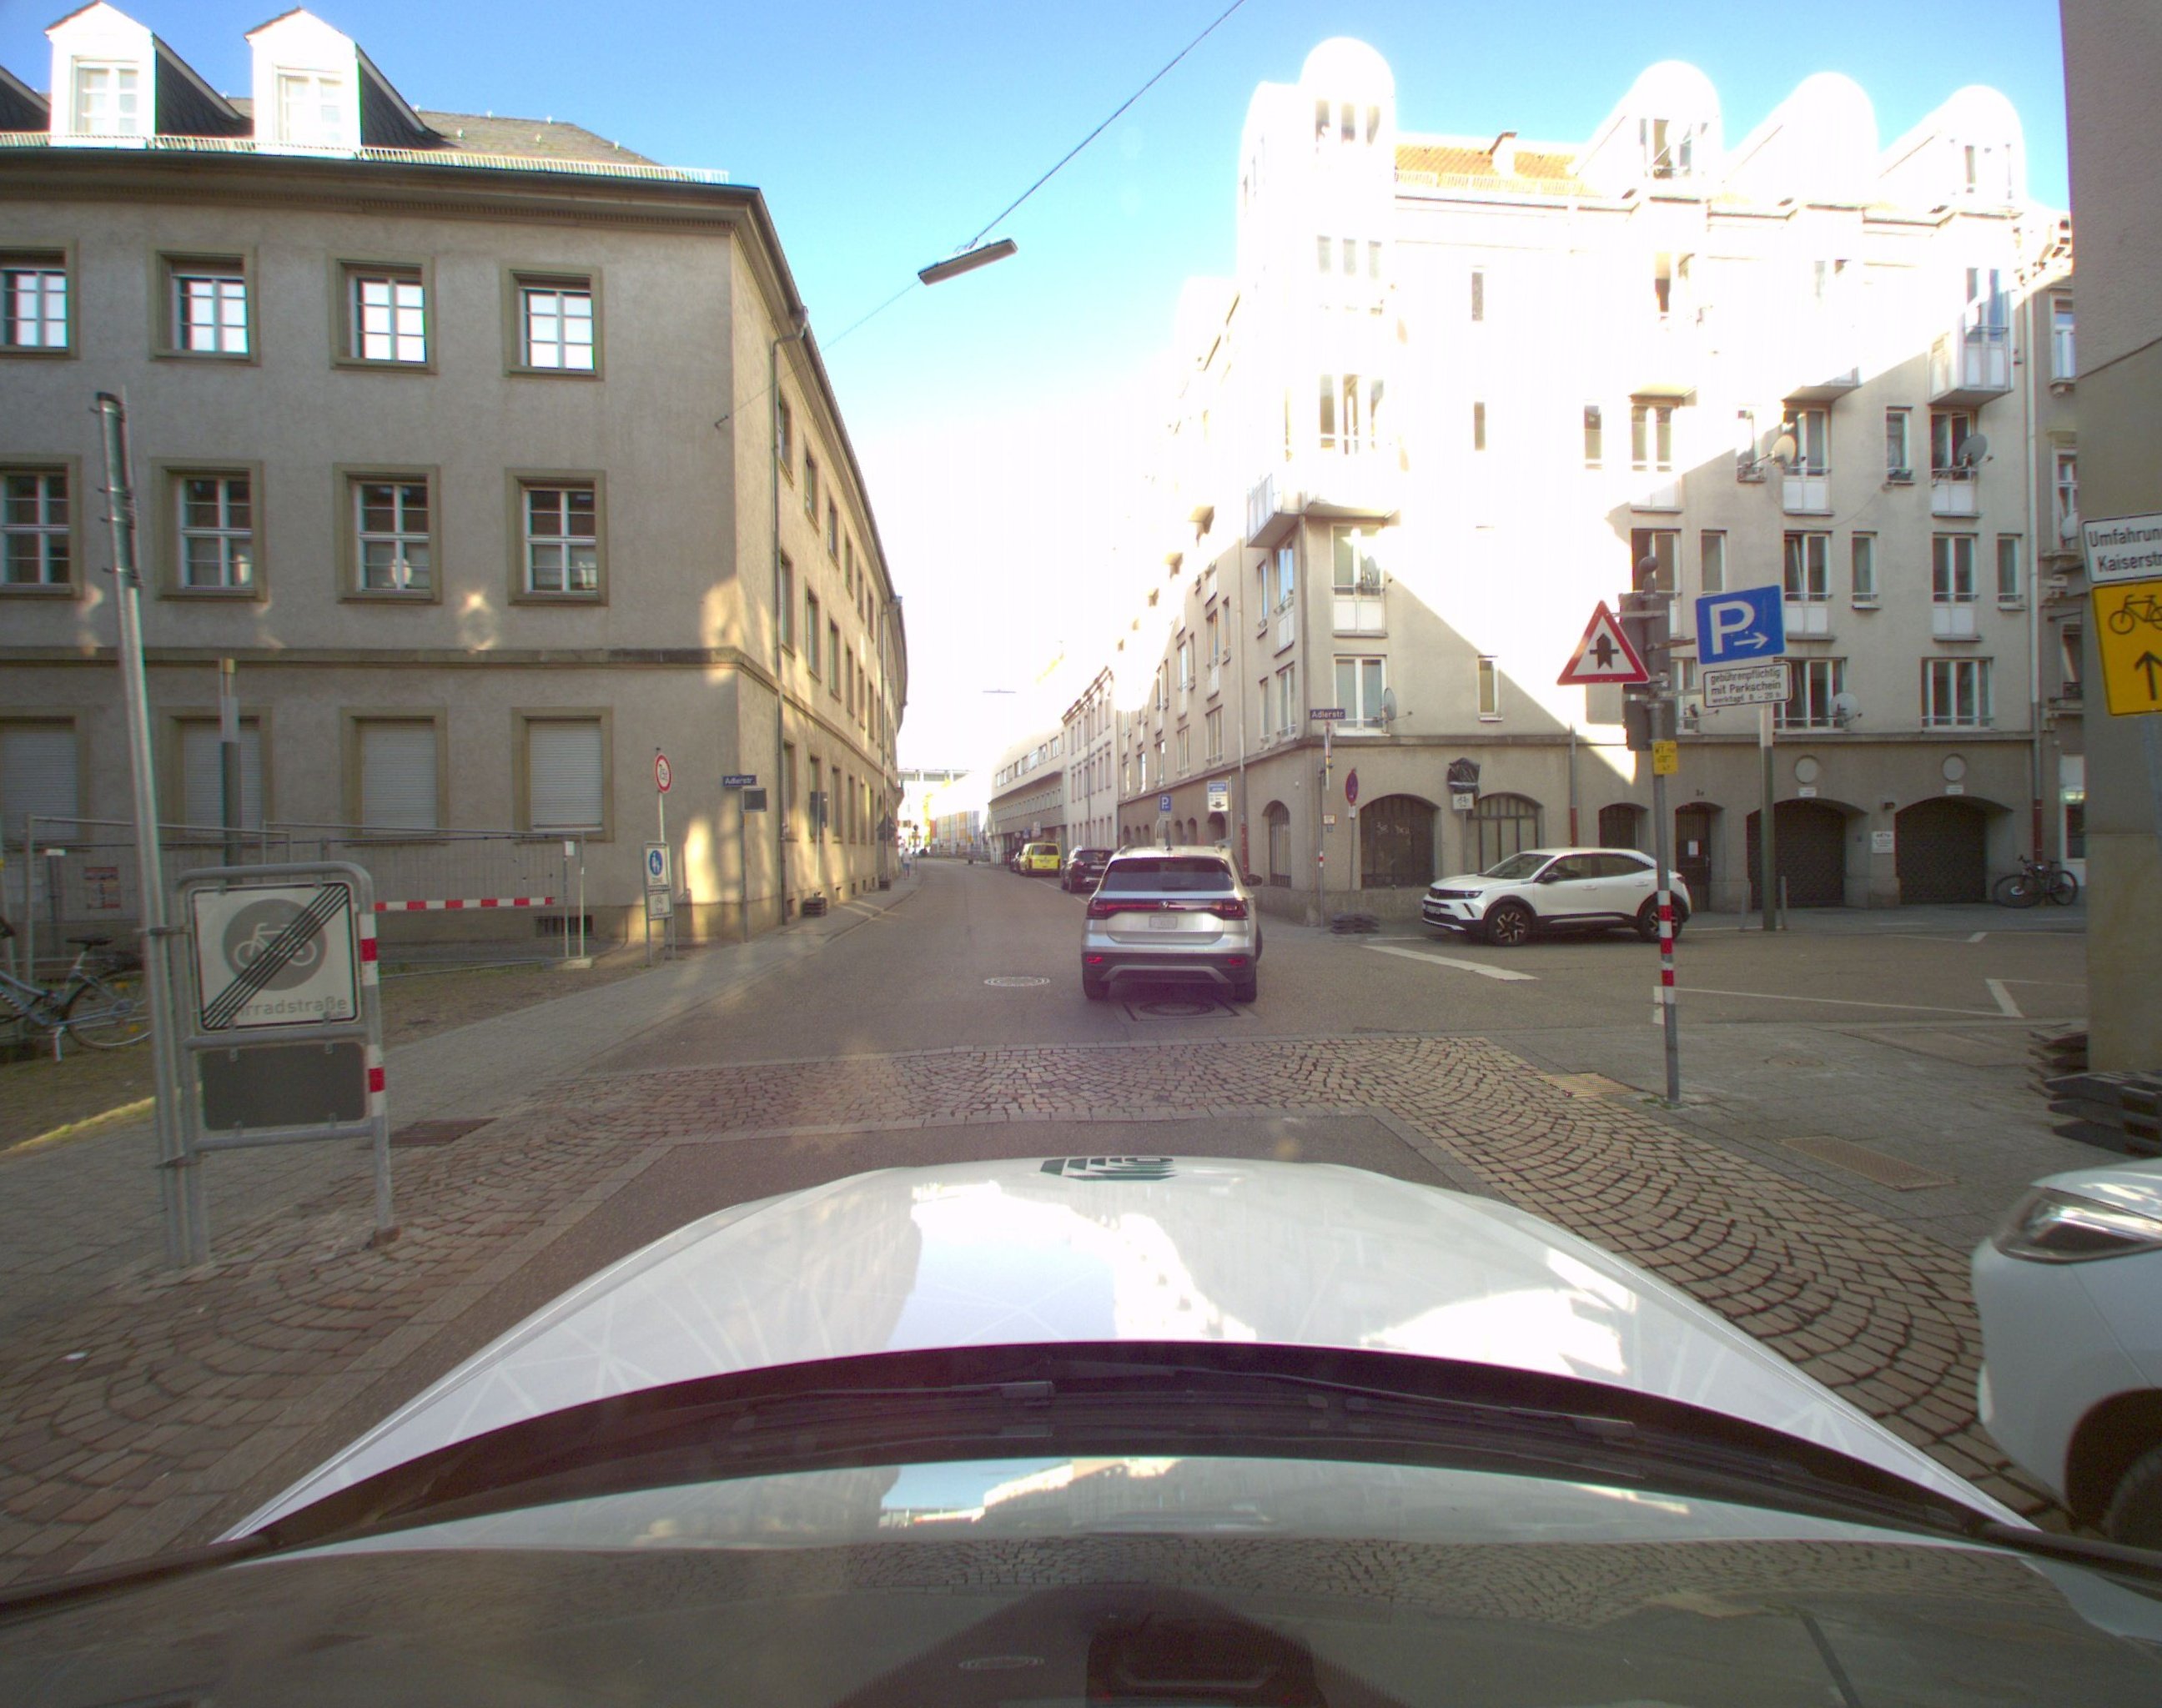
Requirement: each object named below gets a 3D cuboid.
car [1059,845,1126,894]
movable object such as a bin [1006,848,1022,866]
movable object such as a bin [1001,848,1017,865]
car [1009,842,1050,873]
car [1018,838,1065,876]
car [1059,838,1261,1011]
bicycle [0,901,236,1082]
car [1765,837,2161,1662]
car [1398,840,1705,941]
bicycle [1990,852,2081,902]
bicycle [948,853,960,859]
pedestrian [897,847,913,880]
[{"bbox_3d":[0.362,0.513,30.268,1.966,1.692,4.091,0,0,-7],"label":"car"},{"bbox_3d":[-5.856,0.231,70.932,1.134,1.558,1.730,-1,0,-15],"label":"movable object such as a bin"},{"bbox_3d":[-6.422,0.253,72.632,1.134,1.479,1.730,-1,0,-15],"label":"movable object such as a bin"},{"bbox_3d":[-3.353,0.201,52.501,2.054,1.873,4.084,-1,1,-12],"label":"car"},{"bbox_3d":[-2.324,0.153,46.720,2.054,2.013,4.158,-1,1,-12],"label":"car"},{"bbox_3d":[1.130,0.629,9.482,1.824,1.562,4.014,-2,1,12],"label":"car"},{"bbox_3d":[-8.084,1.041,6.431,0.802,1.201,1.781,0,1,15],"label":"bicycle"},{"bbox_3d":[3.007,0.725,0.343,1.885,1.518,4.057,-1,0,-4],"label":"car"},{"bbox_3d":[7.869,0.572,13.904,4.204,1.553,1.901,-1,0,-2],"label":"car"},{"bbox_3d":[20.121,0.482,17.168,1.456,1.020,0.468,-1,0,-4],"label":"bicycle"},{"bbox_3d":[-21.096,0.267,135.296,1.782,1.000,0.544,-1,0,-13],"label":"bicycle"},{"bbox_3d":[-9.366,0.478,43.350,0.767,1.724,0.684,-1,0,-13],"label":"pedestrian"}]
